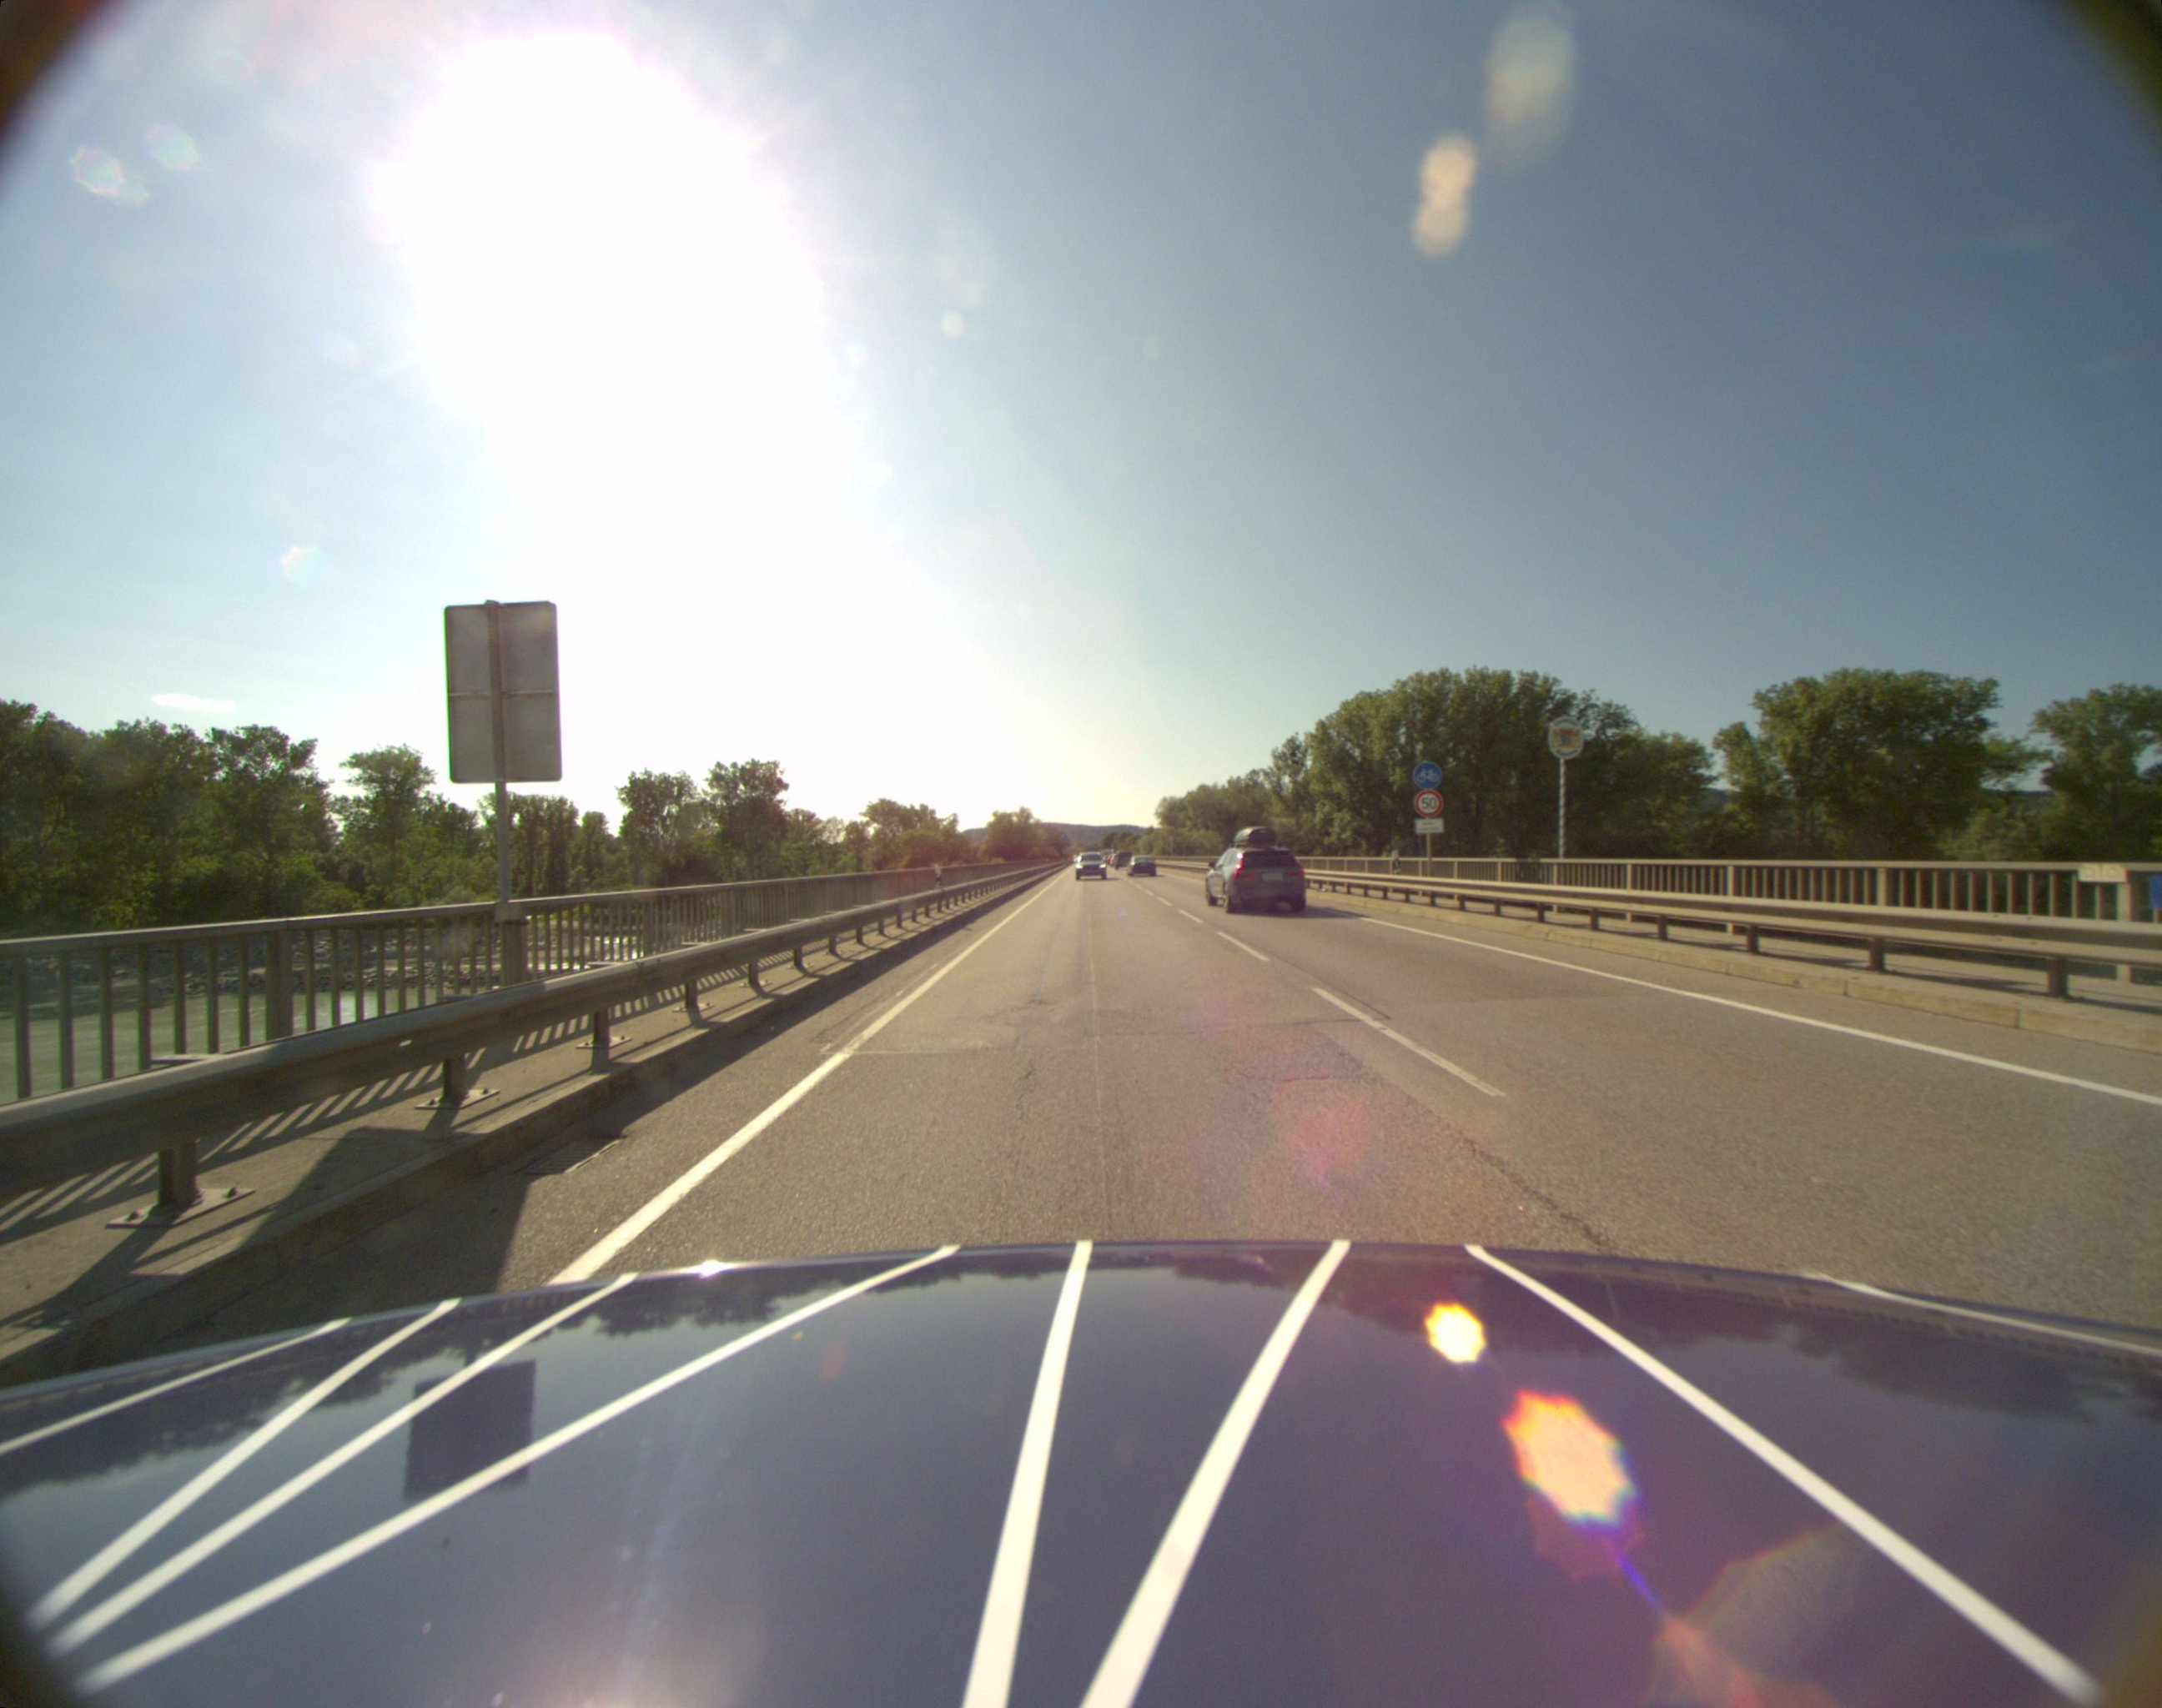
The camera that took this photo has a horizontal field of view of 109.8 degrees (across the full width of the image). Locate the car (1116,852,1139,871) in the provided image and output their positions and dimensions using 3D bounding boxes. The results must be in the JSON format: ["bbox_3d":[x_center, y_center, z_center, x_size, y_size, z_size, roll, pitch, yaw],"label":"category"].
[{"bbox_3d":[4.799,0.809,79.740,2.042,1.862,5.069,-1,0,0],"label":"car"}]

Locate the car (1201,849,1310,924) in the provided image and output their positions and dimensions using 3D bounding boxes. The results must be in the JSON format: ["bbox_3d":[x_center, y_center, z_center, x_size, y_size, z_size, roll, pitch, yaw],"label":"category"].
[{"bbox_3d":[4.425,0.760,20.004,1.859,1.712,4.566,-2,0,1],"label":"car"}]

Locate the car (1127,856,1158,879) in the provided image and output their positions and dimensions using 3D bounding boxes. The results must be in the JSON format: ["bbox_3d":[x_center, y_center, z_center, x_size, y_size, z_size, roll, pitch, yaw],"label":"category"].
[{"bbox_3d":[4.271,0.915,53.110,1.770,1.439,4.456,-1,0,0],"label":"car"}]

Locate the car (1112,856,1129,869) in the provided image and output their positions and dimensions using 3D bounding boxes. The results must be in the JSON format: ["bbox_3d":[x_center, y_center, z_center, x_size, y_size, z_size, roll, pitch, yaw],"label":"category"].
[{"bbox_3d":[5.200,1.180,100.660,1.988,1.641,4.597,-1,0,-1],"label":"car"}]

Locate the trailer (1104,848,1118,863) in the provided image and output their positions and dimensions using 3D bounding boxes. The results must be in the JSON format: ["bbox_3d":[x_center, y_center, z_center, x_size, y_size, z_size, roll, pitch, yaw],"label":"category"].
[{"bbox_3d":[5.970,0.317,153.414,2.561,2.721,8.063,-2,0,1],"label":"trailer"}]

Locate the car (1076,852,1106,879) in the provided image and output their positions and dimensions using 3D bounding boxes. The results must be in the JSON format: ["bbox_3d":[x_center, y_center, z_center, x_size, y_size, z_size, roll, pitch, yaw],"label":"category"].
[{"bbox_3d":[0.672,0.709,49.422,1.871,1.598,4.380,-1,0,1],"label":"car"}]

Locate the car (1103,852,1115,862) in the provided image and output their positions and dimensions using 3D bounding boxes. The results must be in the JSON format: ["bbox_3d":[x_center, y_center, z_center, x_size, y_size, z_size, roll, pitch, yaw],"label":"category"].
[{"bbox_3d":[5.024,0.556,136.903,1.807,1.651,4.433,-1,0,0],"label":"car"}]
